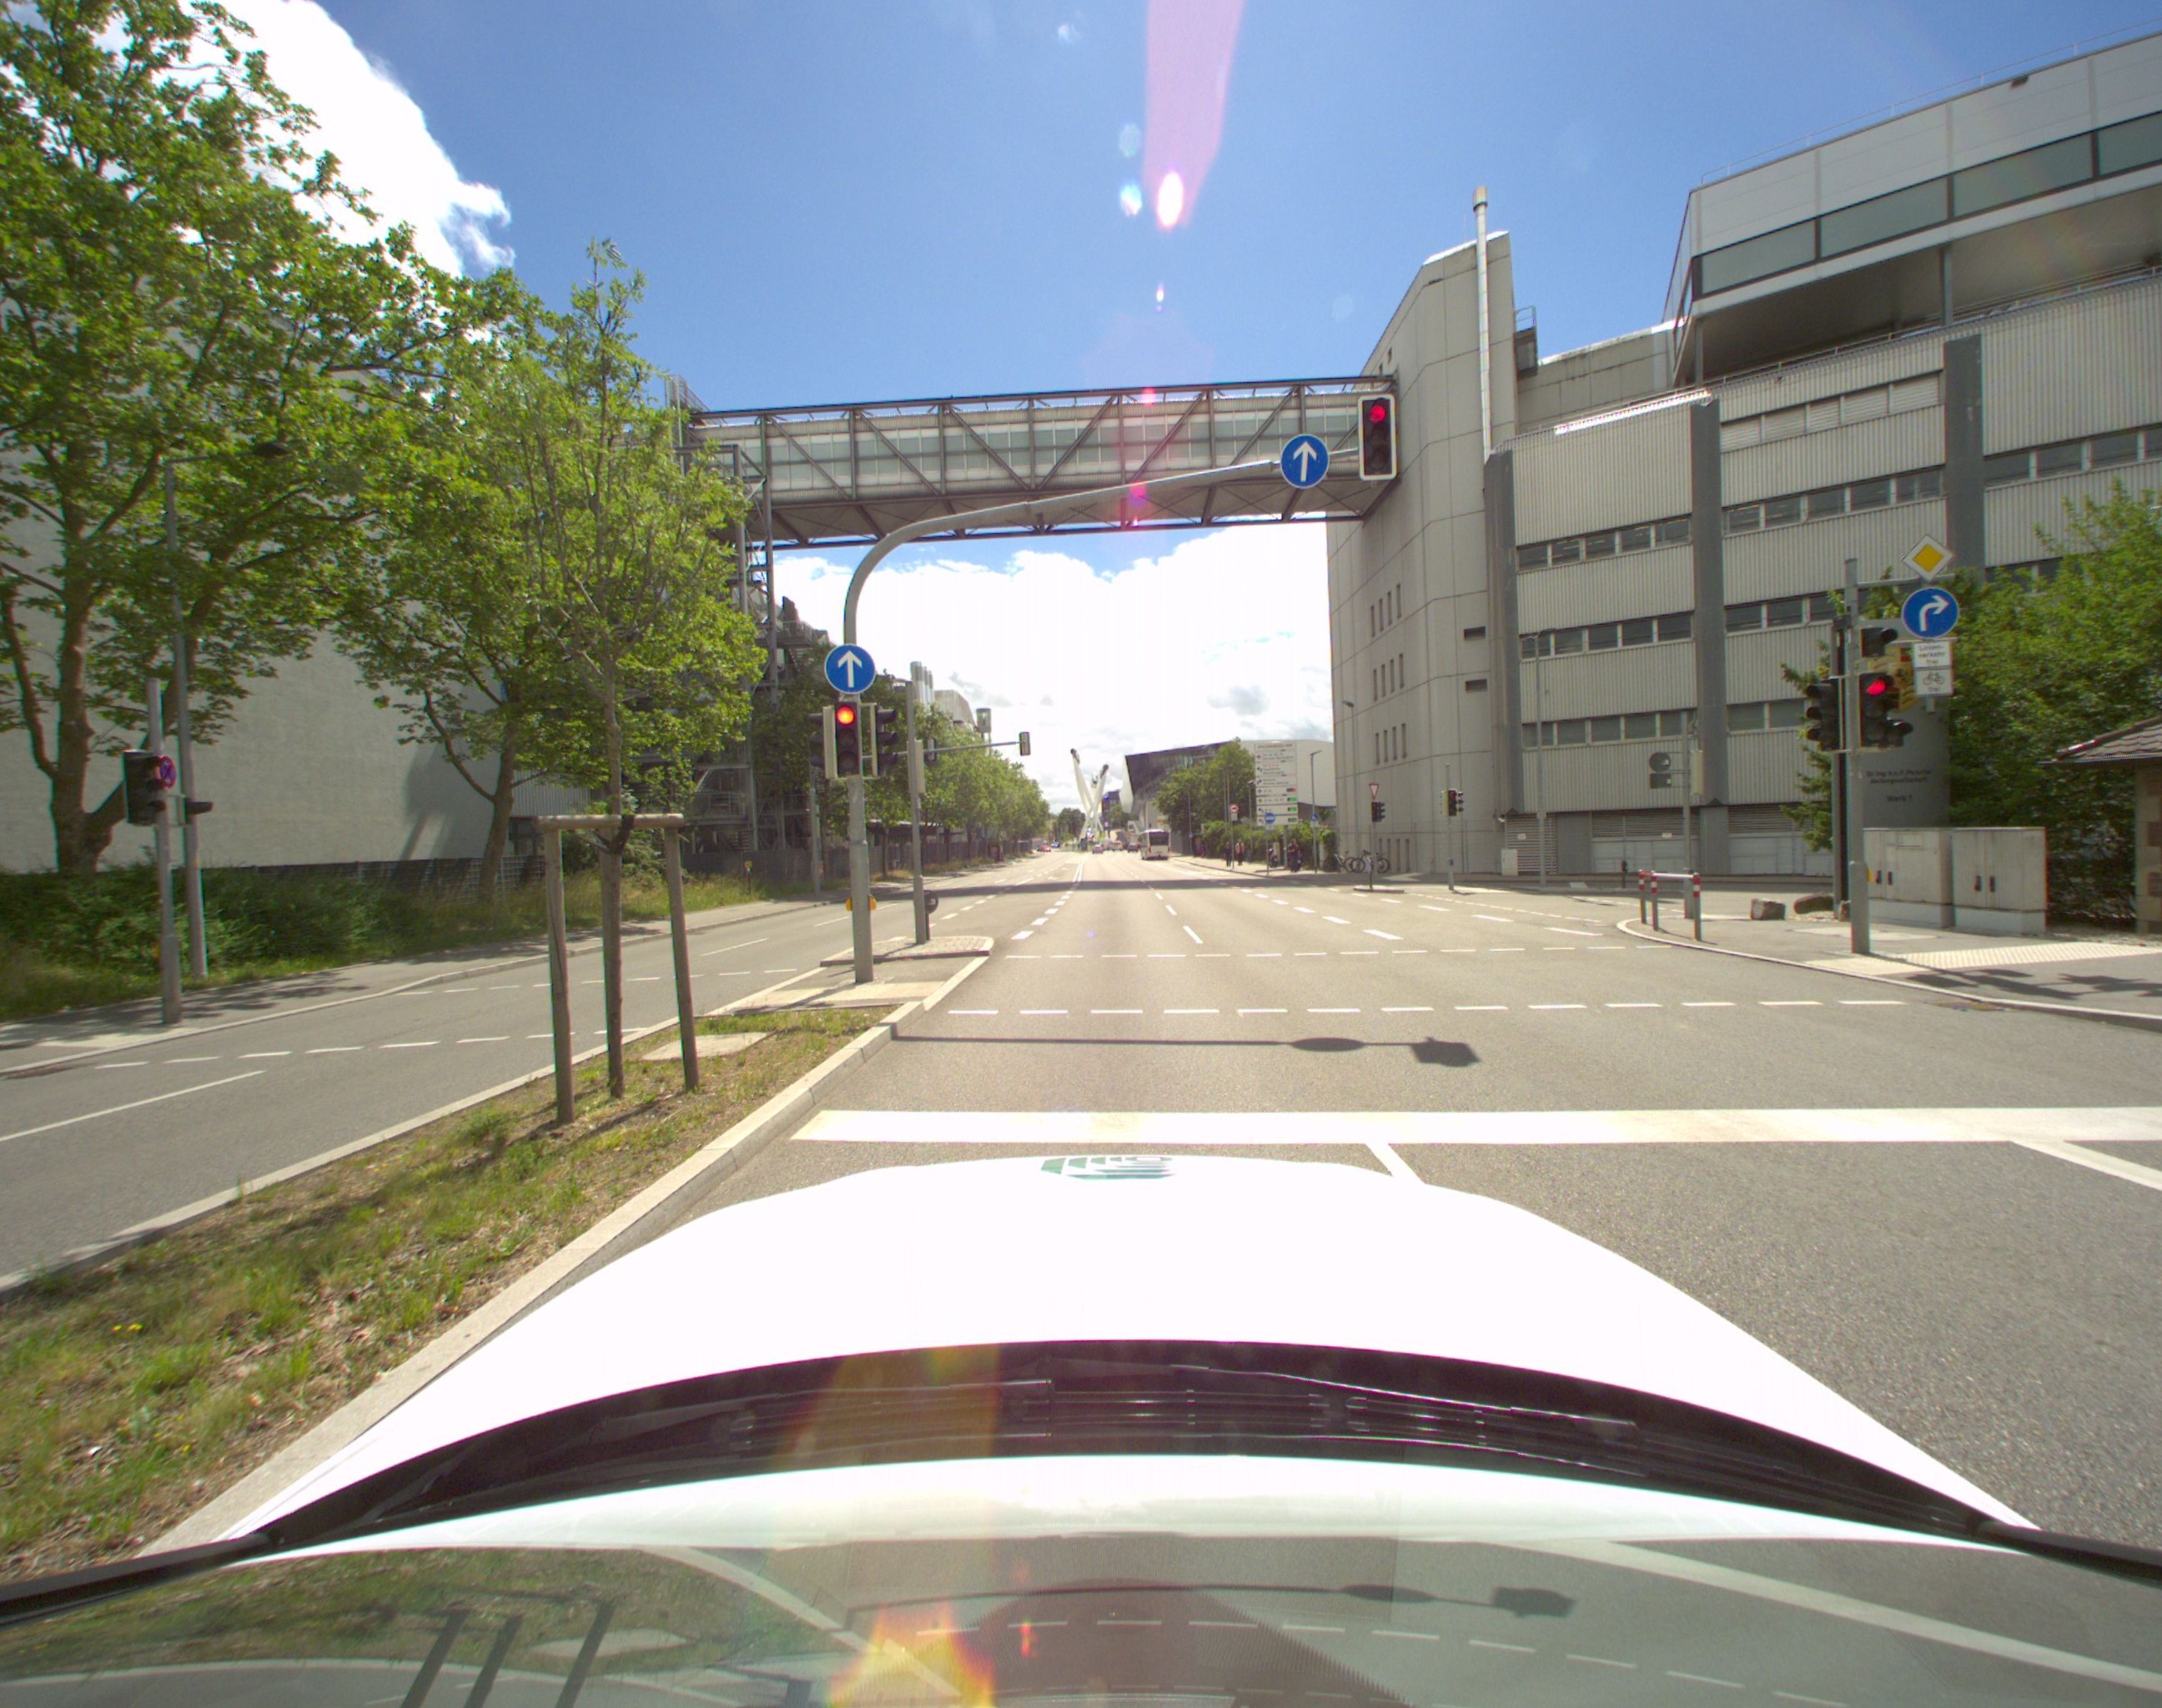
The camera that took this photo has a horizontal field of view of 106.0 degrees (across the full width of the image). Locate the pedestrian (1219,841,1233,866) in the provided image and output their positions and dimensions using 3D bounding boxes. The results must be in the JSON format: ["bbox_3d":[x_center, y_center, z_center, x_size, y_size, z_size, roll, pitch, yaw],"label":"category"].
[{"bbox_3d":[10.412,-0.041,58.477,0.817,1.707,0.881,-1,0,1],"label":"pedestrian"}]

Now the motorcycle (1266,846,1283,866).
[{"bbox_3d":[12.527,0.134,52.764,0.572,1.203,2.025,-3,1,2],"label":"motorcycle"}]

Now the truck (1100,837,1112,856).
[{"bbox_3d":[5.257,-1.577,172.414,2.383,3.897,6.180,-1,0,2],"label":"truck"}]

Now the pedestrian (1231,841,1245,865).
[{"bbox_3d":[11.315,-0.085,58.650,0.817,1.741,0.637,-1,0,1],"label":"pedestrian"}]

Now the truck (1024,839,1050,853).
[{"bbox_3d":[-12.746,-2.388,235.446,7.109,3.894,2.459,0,-2,-35],"label":"truck"}]

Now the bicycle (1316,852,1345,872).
[{"bbox_3d":[12.541,0.403,40.972,0.398,0.937,1.917,-1,0,-17],"label":"bicycle"}]

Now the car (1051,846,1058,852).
[{"bbox_3d":[-7.545,-1.432,232.922,1.812,1.537,3.680,-3,0,2],"label":"car"}]

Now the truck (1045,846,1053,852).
[{"bbox_3d":[-7.560,-1.186,192.130,1.583,1.537,3.665,-1,0,-11],"label":"truck"}]

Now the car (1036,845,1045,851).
[{"bbox_3d":[-10.743,-1.559,216.623,1.812,1.537,3.680,-3,0,2],"label":"car"}]

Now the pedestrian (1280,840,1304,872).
[{"bbox_3d":[11.132,0.108,42.882,0.839,1.624,0.962,-1,0,43],"label":"pedestrian"}]

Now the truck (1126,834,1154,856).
[{"bbox_3d":[12.473,-1.898,171.787,3.424,4.391,9.466,-1,0,19],"label":"truck"}]

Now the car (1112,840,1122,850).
[{"bbox_3d":[7.418,-1.815,165.422,1.985,2.014,4.003,0,-1,3],"label":"car"}]

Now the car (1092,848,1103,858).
[{"bbox_3d":[2.799,-0.217,139.927,1.732,1.741,3.693,-1,0,2],"label":"car"}]

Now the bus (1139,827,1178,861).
[{"bbox_3d":[8.715,-1.073,92.763,3.441,3.543,10.606,-1,0,1],"label":"bus"}]

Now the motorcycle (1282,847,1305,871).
[{"bbox_3d":[11.708,0.269,44.918,0.704,1.203,2.025,-3,1,2],"label":"motorcycle"}]

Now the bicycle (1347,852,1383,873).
[{"bbox_3d":[13.486,0.405,38.661,0.399,0.937,1.913,-1,0,-24],"label":"bicycle"}]

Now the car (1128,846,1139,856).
[{"bbox_3d":[9.399,-0.570,146.058,1.732,1.741,3.693,-1,0,2],"label":"car"}]
